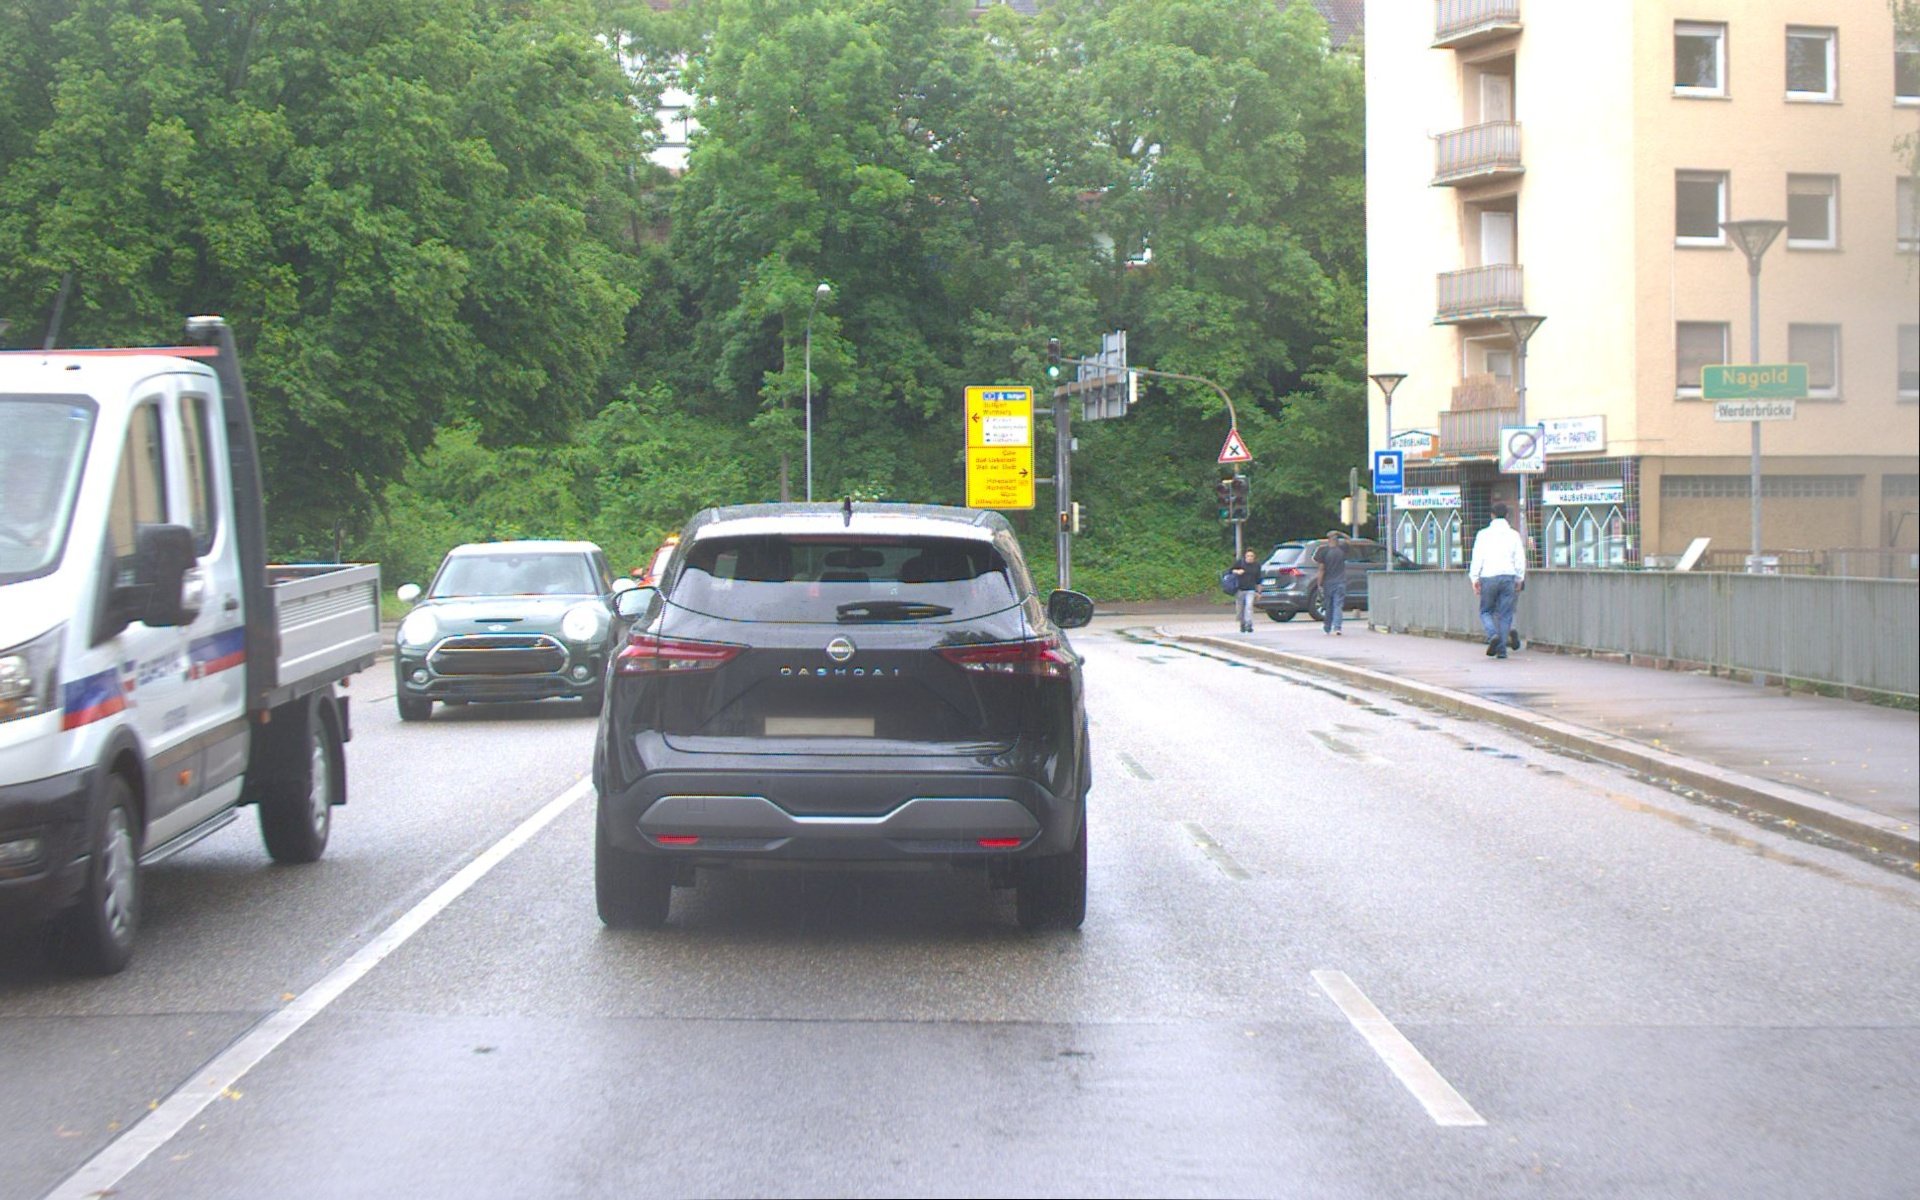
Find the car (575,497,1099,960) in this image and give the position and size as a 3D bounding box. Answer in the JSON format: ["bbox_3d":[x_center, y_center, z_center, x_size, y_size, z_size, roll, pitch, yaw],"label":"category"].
[{"bbox_3d":[-0.456,0.405,13.998,1.811,1.597,4.000,1,1,-1],"label":"car"}]

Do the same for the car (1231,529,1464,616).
[{"bbox_3d":[7.938,-0.564,70.409,4.366,1.643,1.884,-2,1,-26],"label":"car"}]

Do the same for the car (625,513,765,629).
[{"bbox_3d":[-4.180,-0.492,54.813,1.888,1.729,4.371,-1,1,0],"label":"car"}]

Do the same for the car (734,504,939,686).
[{"bbox_3d":[-1.139,-0.088,32.869,1.811,1.597,4.000,1,1,-1],"label":"car"}]

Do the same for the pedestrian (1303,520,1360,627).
[{"bbox_3d":[5.952,-0.433,55.097,0.761,1.671,0.781,-2,1,0],"label":"pedestrian"}]

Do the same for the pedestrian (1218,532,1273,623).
[{"bbox_3d":[5.143,-0.409,62.004,0.862,1.613,0.839,-2,1,0],"label":"pedestrian"}]

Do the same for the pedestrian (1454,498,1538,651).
[{"bbox_3d":[6.239,-0.298,40.064,0.779,1.746,1.061,-1,1,-1],"label":"pedestrian"}]

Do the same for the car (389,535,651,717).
[{"bbox_3d":[-3.722,0.172,29.674,1.745,1.434,4.000,-1,1,0],"label":"car"}]

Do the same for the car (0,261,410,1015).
[{"bbox_3d":[-3.842,0.052,13.769,2.289,2.300,6.510,-2,2,-1],"label":"car"}]
